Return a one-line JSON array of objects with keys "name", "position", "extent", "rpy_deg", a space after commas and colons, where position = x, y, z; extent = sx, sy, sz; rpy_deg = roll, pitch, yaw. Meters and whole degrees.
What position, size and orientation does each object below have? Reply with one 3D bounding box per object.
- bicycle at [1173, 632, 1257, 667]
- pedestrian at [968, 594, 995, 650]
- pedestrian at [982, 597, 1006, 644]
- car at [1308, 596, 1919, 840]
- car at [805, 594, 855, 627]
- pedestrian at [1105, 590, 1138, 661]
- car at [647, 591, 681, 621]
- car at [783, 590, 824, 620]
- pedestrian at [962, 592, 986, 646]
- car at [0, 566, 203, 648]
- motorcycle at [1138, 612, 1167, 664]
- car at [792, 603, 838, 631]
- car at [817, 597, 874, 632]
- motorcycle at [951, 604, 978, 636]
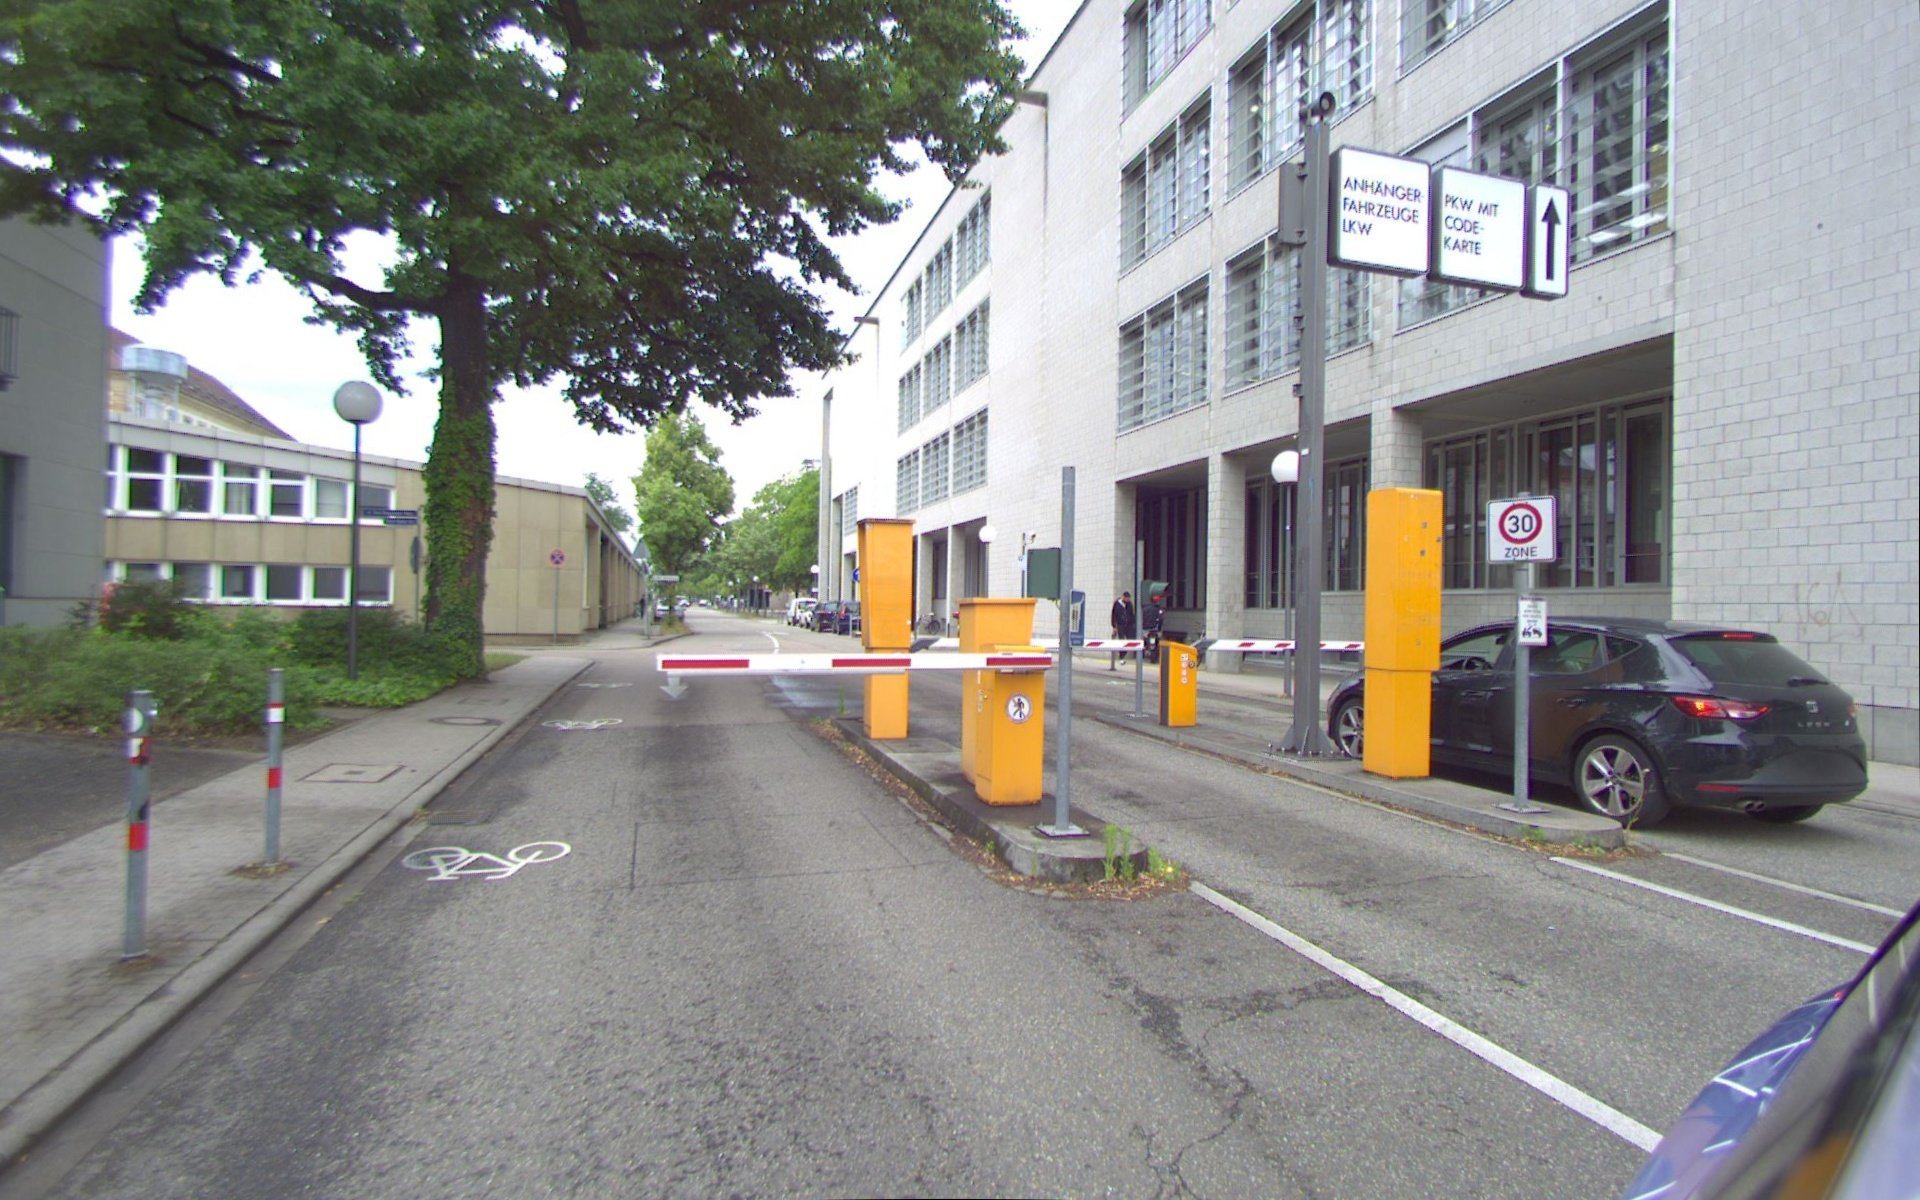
[{"name": "bicycle", "position": [5.799, 1.130, 23.018], "extent": [1.862, 0.707, 0.494], "rpy_deg": [2, 1, -20]}, {"name": "pedestrian", "position": [0.665, 0.693, 31.696], "extent": [0.684, 1.736, 0.490], "rpy_deg": [2, -1, -15]}, {"name": "pedestrian", "position": [1.144, 0.691, 34.062], "extent": [0.632, 1.546, 0.473], "rpy_deg": [2, -1, -14]}, {"name": "car", "position": [4.894, 0.719, 8.251], "extent": [1.750, 1.437, 4.138], "rpy_deg": [2, 0, -17]}, {"name": "car", "position": [-6.960, 0.527, 53.927], "extent": [1.958, 1.643, 4.437], "rpy_deg": [0, 0, -16]}, {"name": "pedestrian", "position": [4.018, 0.629, 25.210], "extent": [0.600, 1.736, 0.576], "rpy_deg": [1, 0, -18]}, {"name": "car", "position": [-17.215, 0.315, 58.757], "extent": [1.738, 1.621, 4.008], "rpy_deg": [2, 0, -18]}, {"name": "car", "position": [-9.858, 0.297, 63.441], "extent": [1.958, 1.804, 4.437], "rpy_deg": [0, 0, -17]}, {"name": "pedestrian", "position": [0.463, 0.623, 33.604], "extent": [0.684, 1.736, 0.490], "rpy_deg": [2, -1, -12]}, {"name": "car", "position": [-18.040, 0.136, 21.497], "extent": [1.829, 1.549, 4.008], "rpy_deg": [2, 0, -17]}, {"name": "motorcycle", "position": [4.914, 0.934, 25.907], "extent": [0.558, 1.162, 2.212], "rpy_deg": [3, 2, 8]}, {"name": "car", "position": [-8.408, 0.960, 58.494], "extent": [1.958, 1.482, 4.437], "rpy_deg": [0, 0, -17]}, {"name": "car", "position": [-5.672, 0.696, 49.573], "extent": [1.958, 1.643, 4.436], "rpy_deg": [0, -1, -17]}, {"name": "motorcycle", "position": [0.215, 0.819, 42.023], "extent": [0.749, 1.162, 2.657], "rpy_deg": [3, 2, 8]}]
